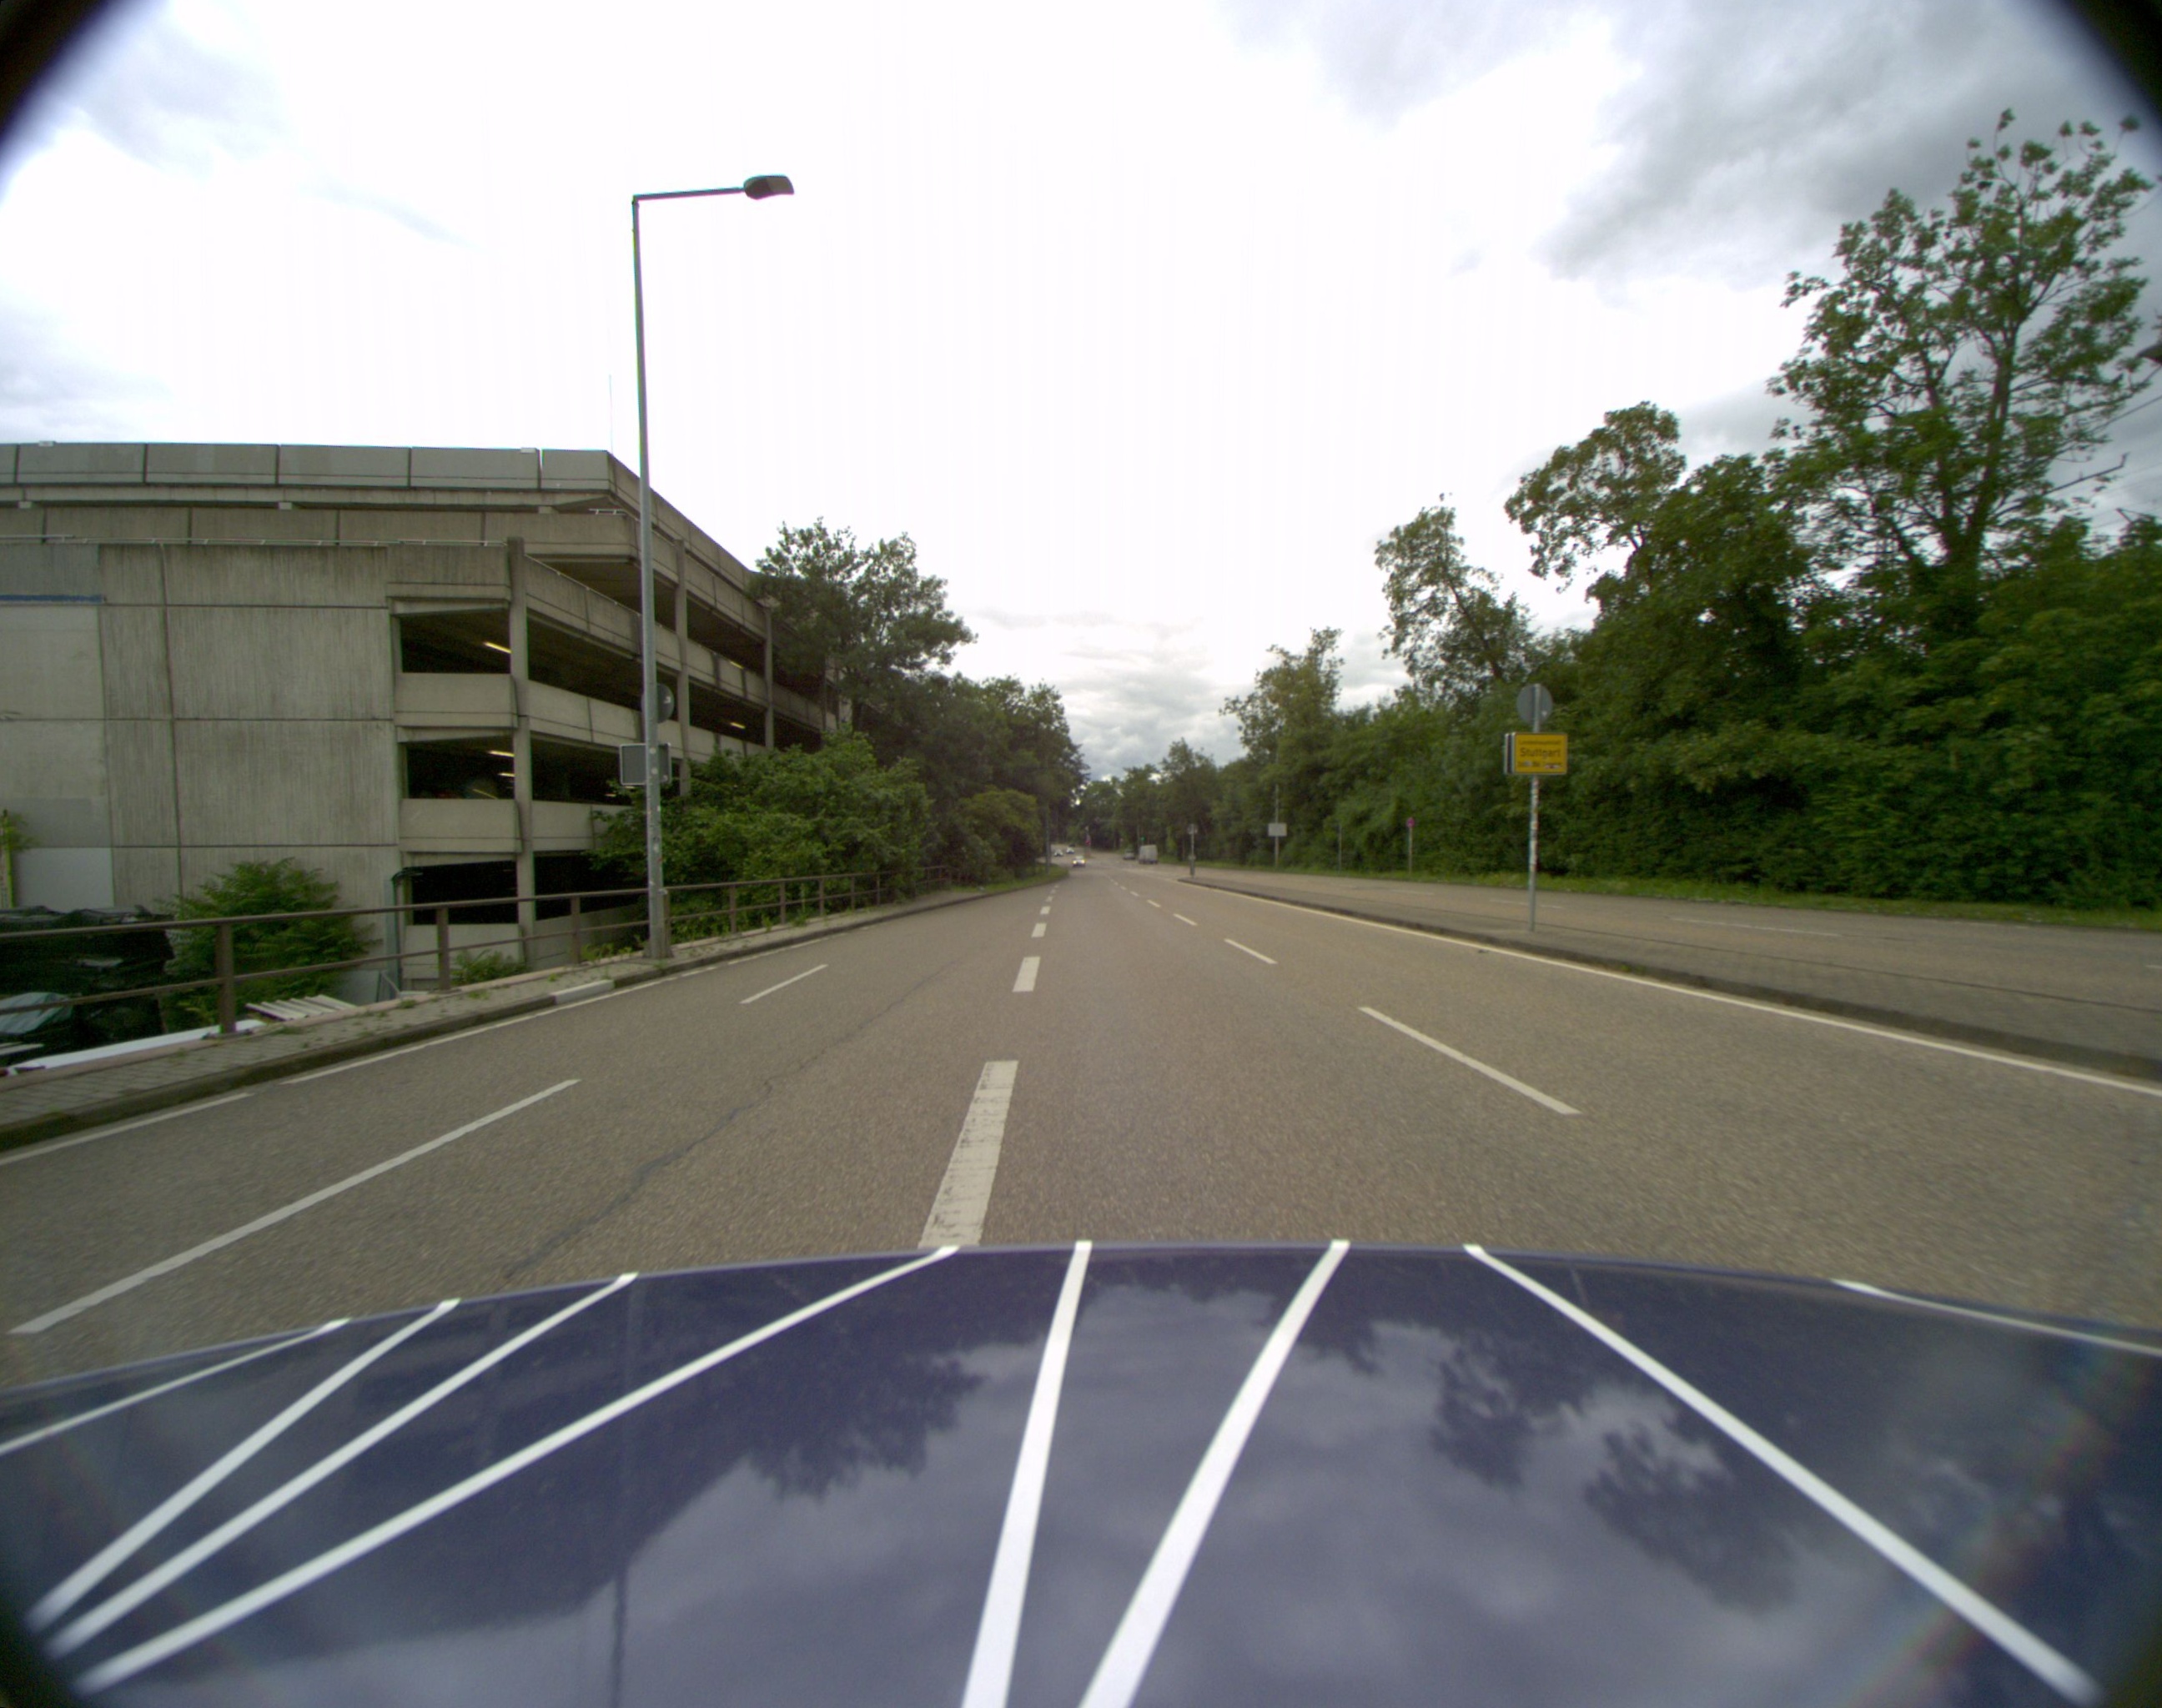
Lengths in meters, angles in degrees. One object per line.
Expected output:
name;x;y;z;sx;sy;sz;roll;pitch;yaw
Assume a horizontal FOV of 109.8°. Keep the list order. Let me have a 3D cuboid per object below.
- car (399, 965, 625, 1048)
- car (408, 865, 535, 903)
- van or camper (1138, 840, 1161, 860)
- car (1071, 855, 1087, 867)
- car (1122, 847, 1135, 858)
car;-15.949;4.255;21.522;4.758;1.775;1.999;-1;2;-3
car;-26.906;1.316;33.648;3.998;1.471;1.875;0;3;-2
van or camper;9.681;-0.550;107.506;2.289;2.540;6.858;-6;0;-1
car;-0.223;0.935;105.494;1.854;1.471;4.509;-5;0;2
car;8.400;-0.278;134.354;1.818;1.819;4.382;-1;-1;-3
